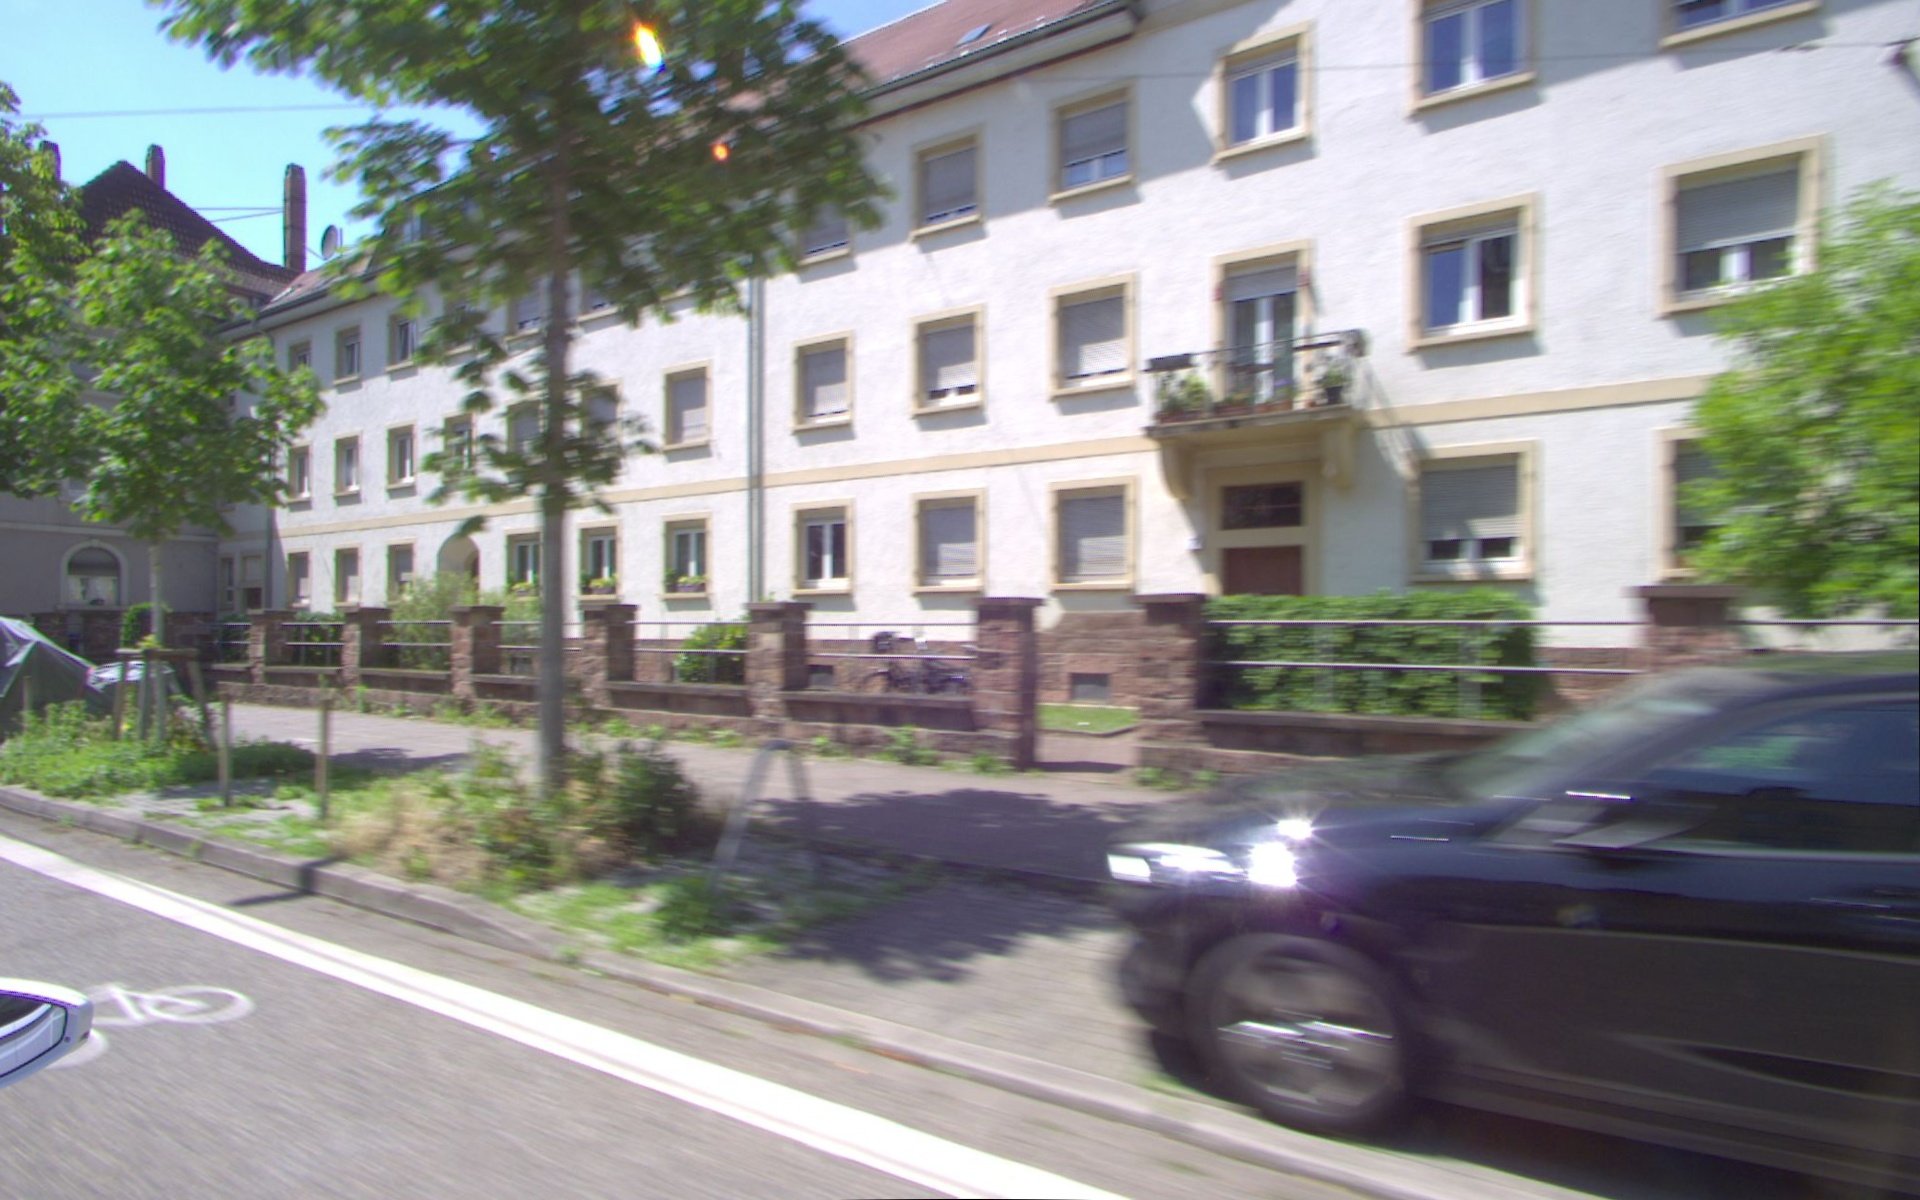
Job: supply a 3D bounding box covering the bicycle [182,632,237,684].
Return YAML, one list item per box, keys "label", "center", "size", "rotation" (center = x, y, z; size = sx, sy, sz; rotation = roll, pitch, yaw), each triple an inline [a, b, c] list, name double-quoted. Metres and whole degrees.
- label: "bicycle"
  center: [-16.330, 1.247, 21.783]
  size: [1.542, 1.070, 0.458]
  rotation: [0, 0, 33]

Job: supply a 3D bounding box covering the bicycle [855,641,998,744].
- label: "bicycle"
  center: [-0.421, 1.068, 11.968]
  size: [1.782, 1.117, 0.497]
  rotation: [0, 0, 35]

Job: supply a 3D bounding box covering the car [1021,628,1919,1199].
- label: "car"
  center: [2.712, 0.835, 2.981]
  size: [4.789, 1.445, 1.767]
  rotation: [0, -1, 30]

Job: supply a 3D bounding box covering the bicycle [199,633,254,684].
- label: "bicycle"
  center: [-16.187, 1.266, 22.085]
  size: [1.542, 1.070, 0.458]
  rotation: [0, 0, 33]

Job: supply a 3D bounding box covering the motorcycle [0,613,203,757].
- label: "motorcycle"
  center: [-10.163, 0.939, 11.410]
  size: [2.279, 1.560, 0.868]
  rotation: [1, -1, -15]

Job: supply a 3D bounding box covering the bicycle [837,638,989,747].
- label: "bicycle"
  center: [-0.556, 0.995, 11.244]
  size: [1.782, 1.117, 0.497]
  rotation: [0, 0, 35]
